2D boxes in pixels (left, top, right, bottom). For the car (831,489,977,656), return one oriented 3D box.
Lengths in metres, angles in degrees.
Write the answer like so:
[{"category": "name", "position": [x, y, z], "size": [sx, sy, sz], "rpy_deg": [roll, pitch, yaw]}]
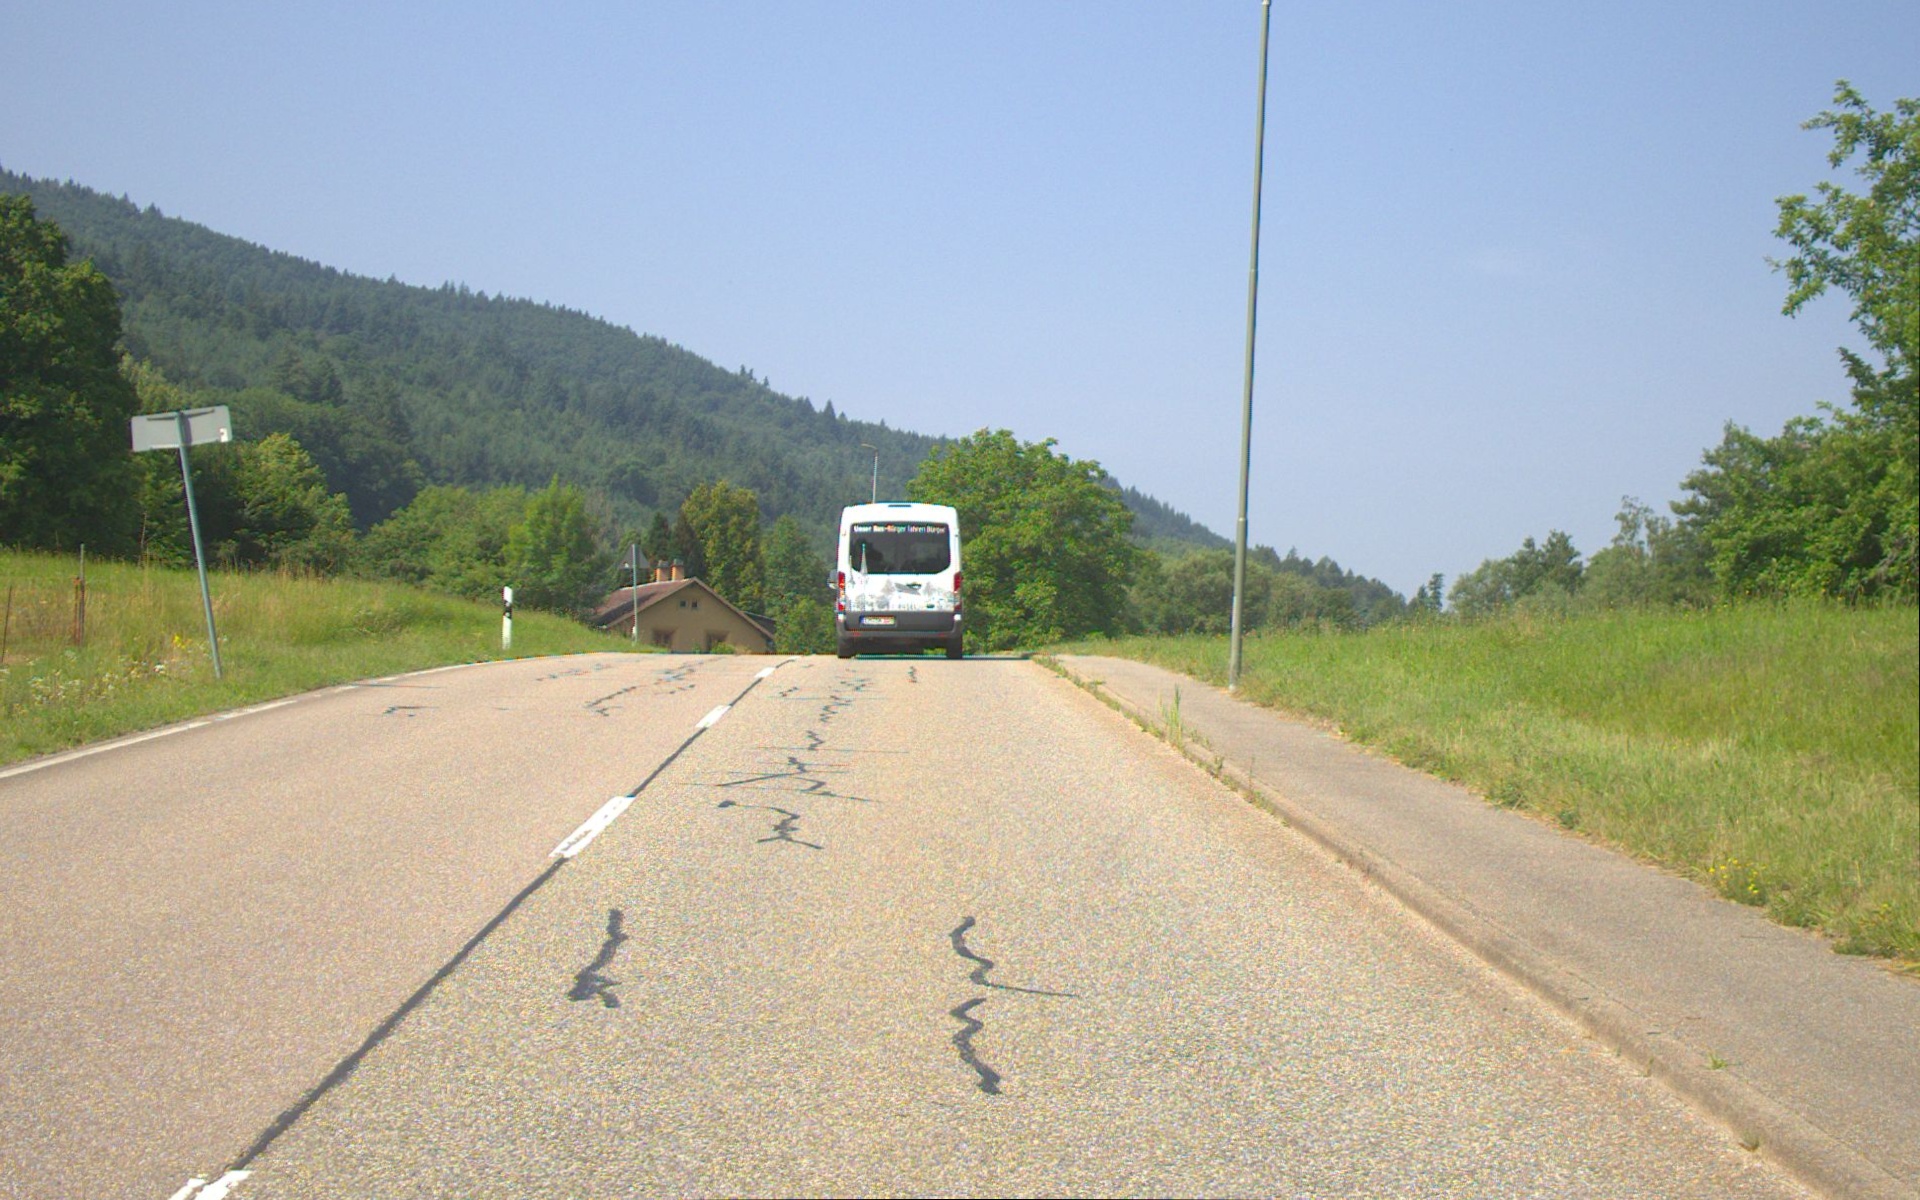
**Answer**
[{"category": "car", "position": [-0.919, -0.390, 56.025], "size": [2.222, 2.517, 4.984], "rpy_deg": [-1, -1, -1]}]
